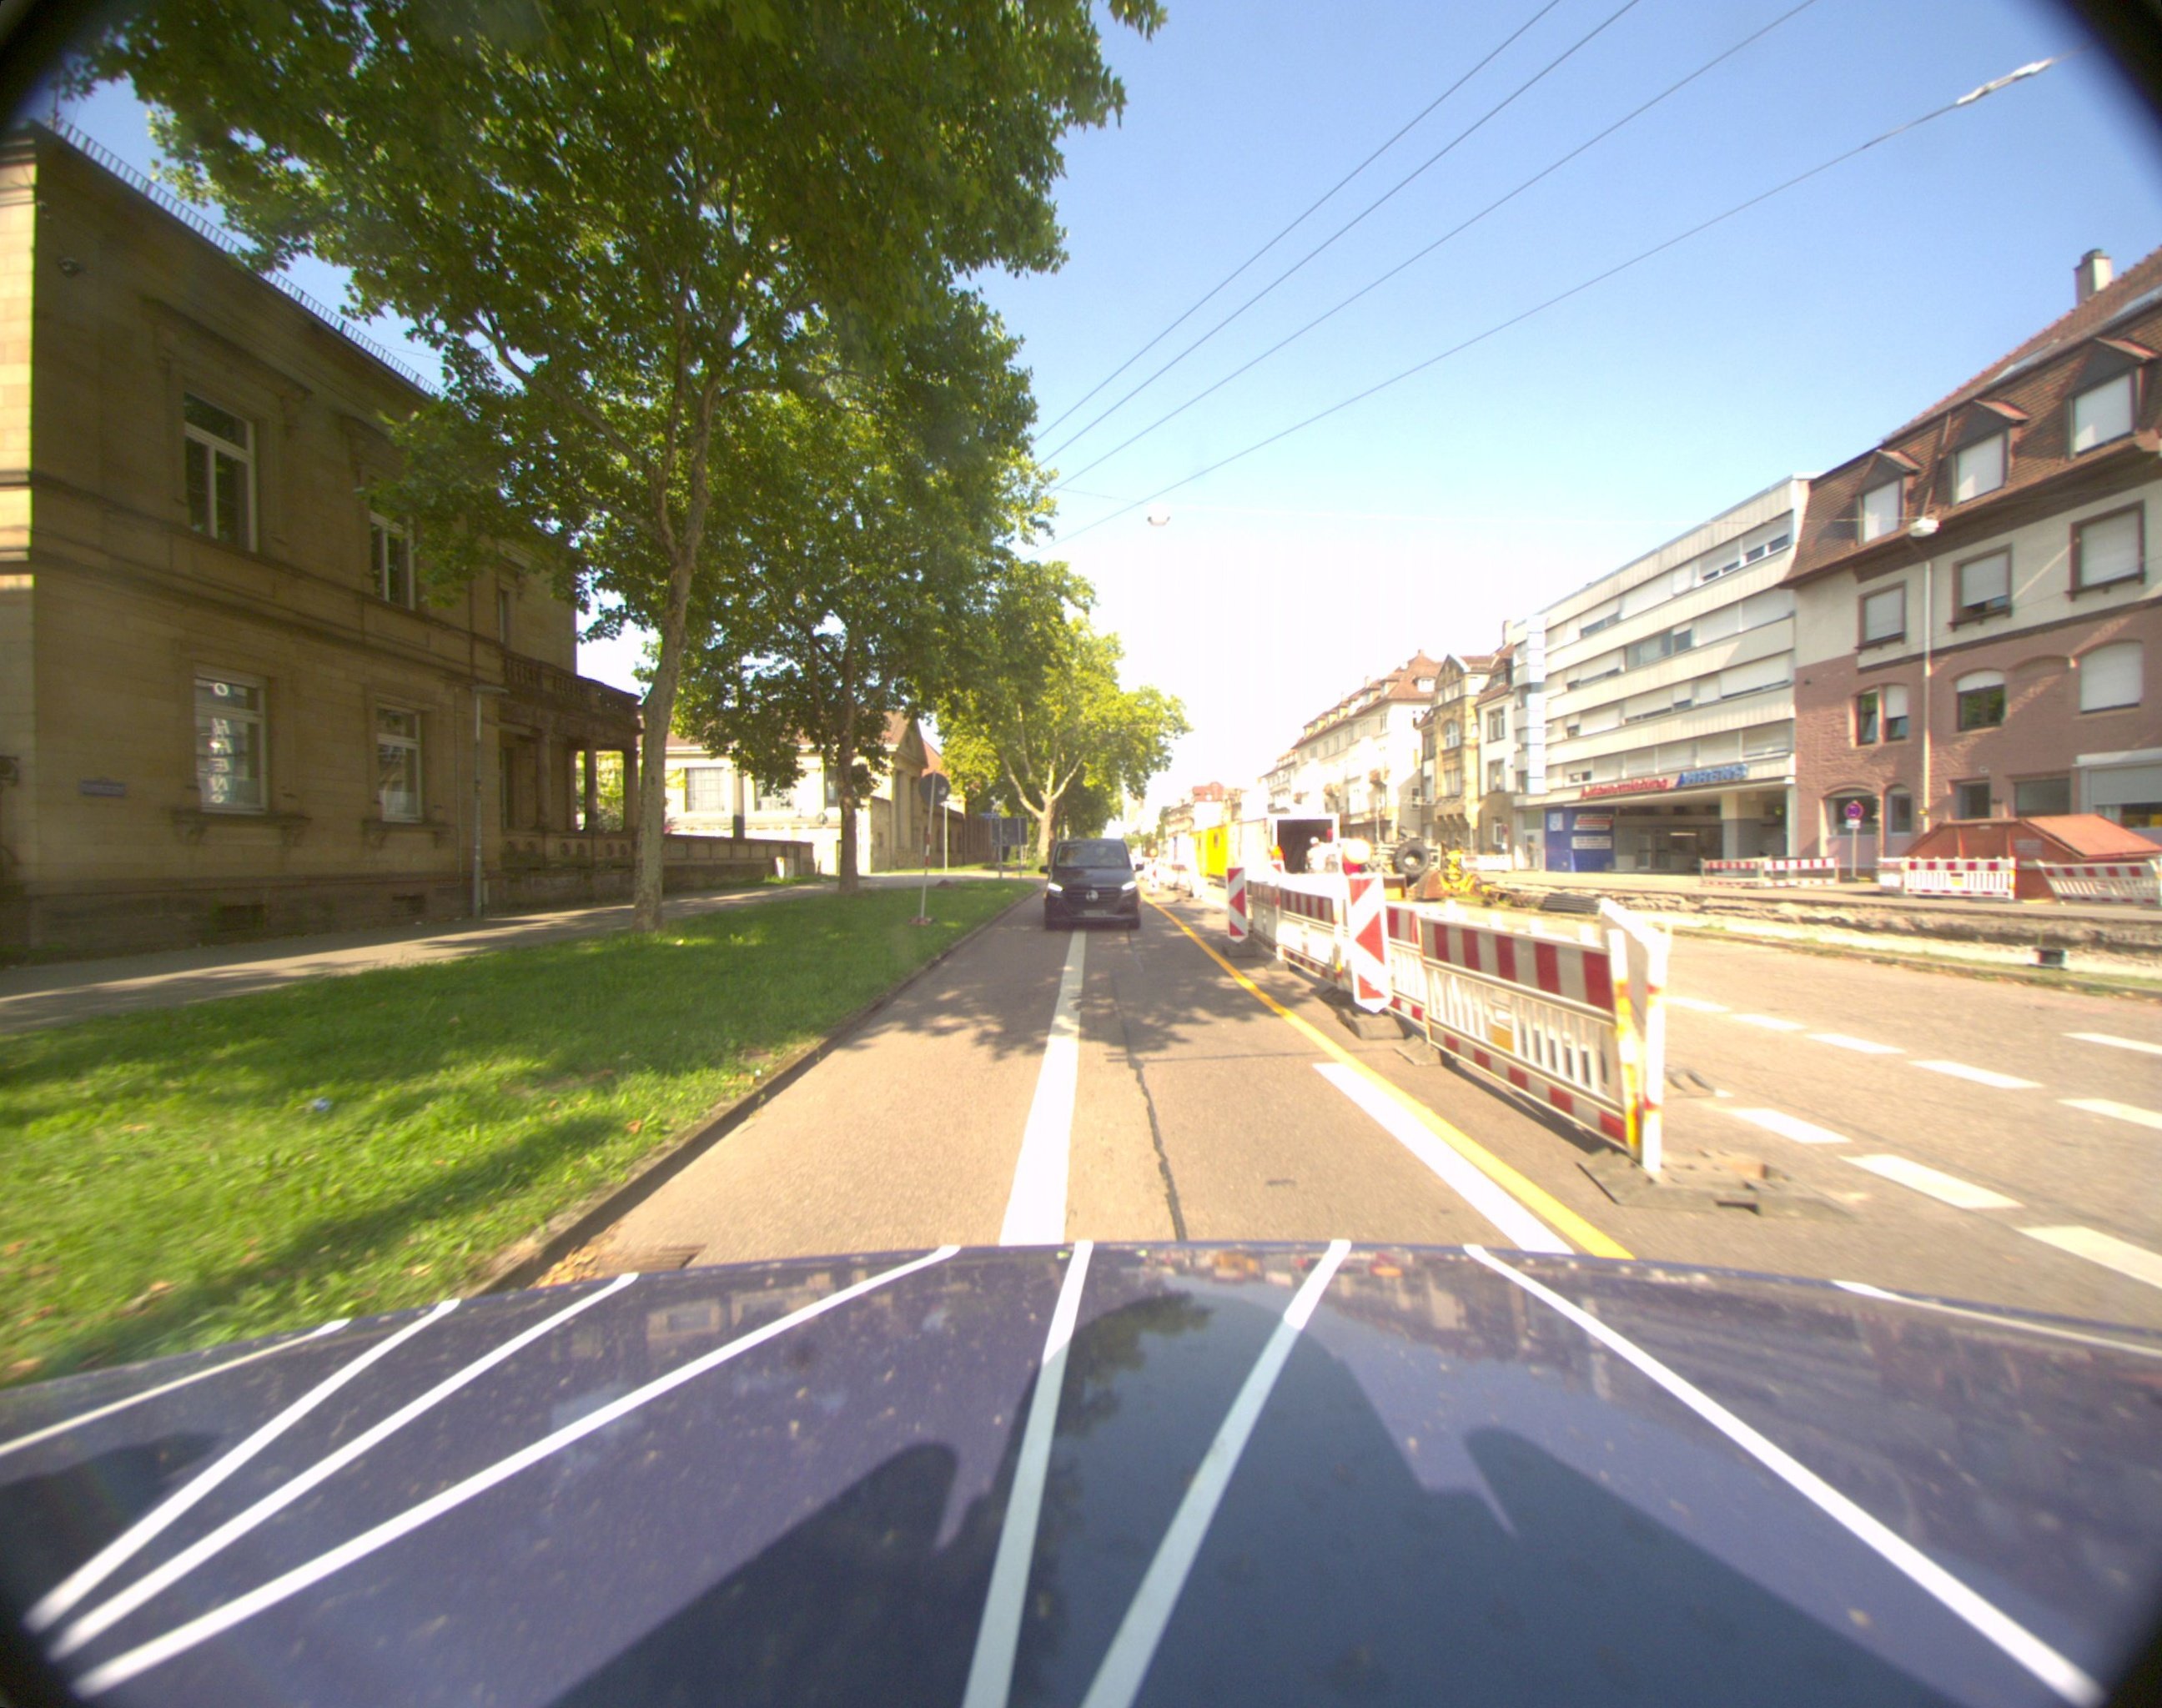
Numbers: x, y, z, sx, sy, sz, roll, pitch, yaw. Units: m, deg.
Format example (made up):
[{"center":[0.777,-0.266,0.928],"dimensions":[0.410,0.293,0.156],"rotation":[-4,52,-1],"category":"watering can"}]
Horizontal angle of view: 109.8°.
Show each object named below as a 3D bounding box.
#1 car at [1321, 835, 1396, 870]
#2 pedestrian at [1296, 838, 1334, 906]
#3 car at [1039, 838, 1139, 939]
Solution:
[{"center":[18.158,-0.116,50.134],"dimensions":[2.366,2.122,7.121],"rotation":[0,1,0],"category":"car"},{"center":[6.271,0.473,20.394],"dimensions":[0.804,1.787,0.595],"rotation":[1,1,-3],"category":"pedestrian"},{"center":[0.194,0.643,16.512],"dimensions":[1.853,1.875,4.178],"rotation":[-2,1,1],"category":"car"}]
